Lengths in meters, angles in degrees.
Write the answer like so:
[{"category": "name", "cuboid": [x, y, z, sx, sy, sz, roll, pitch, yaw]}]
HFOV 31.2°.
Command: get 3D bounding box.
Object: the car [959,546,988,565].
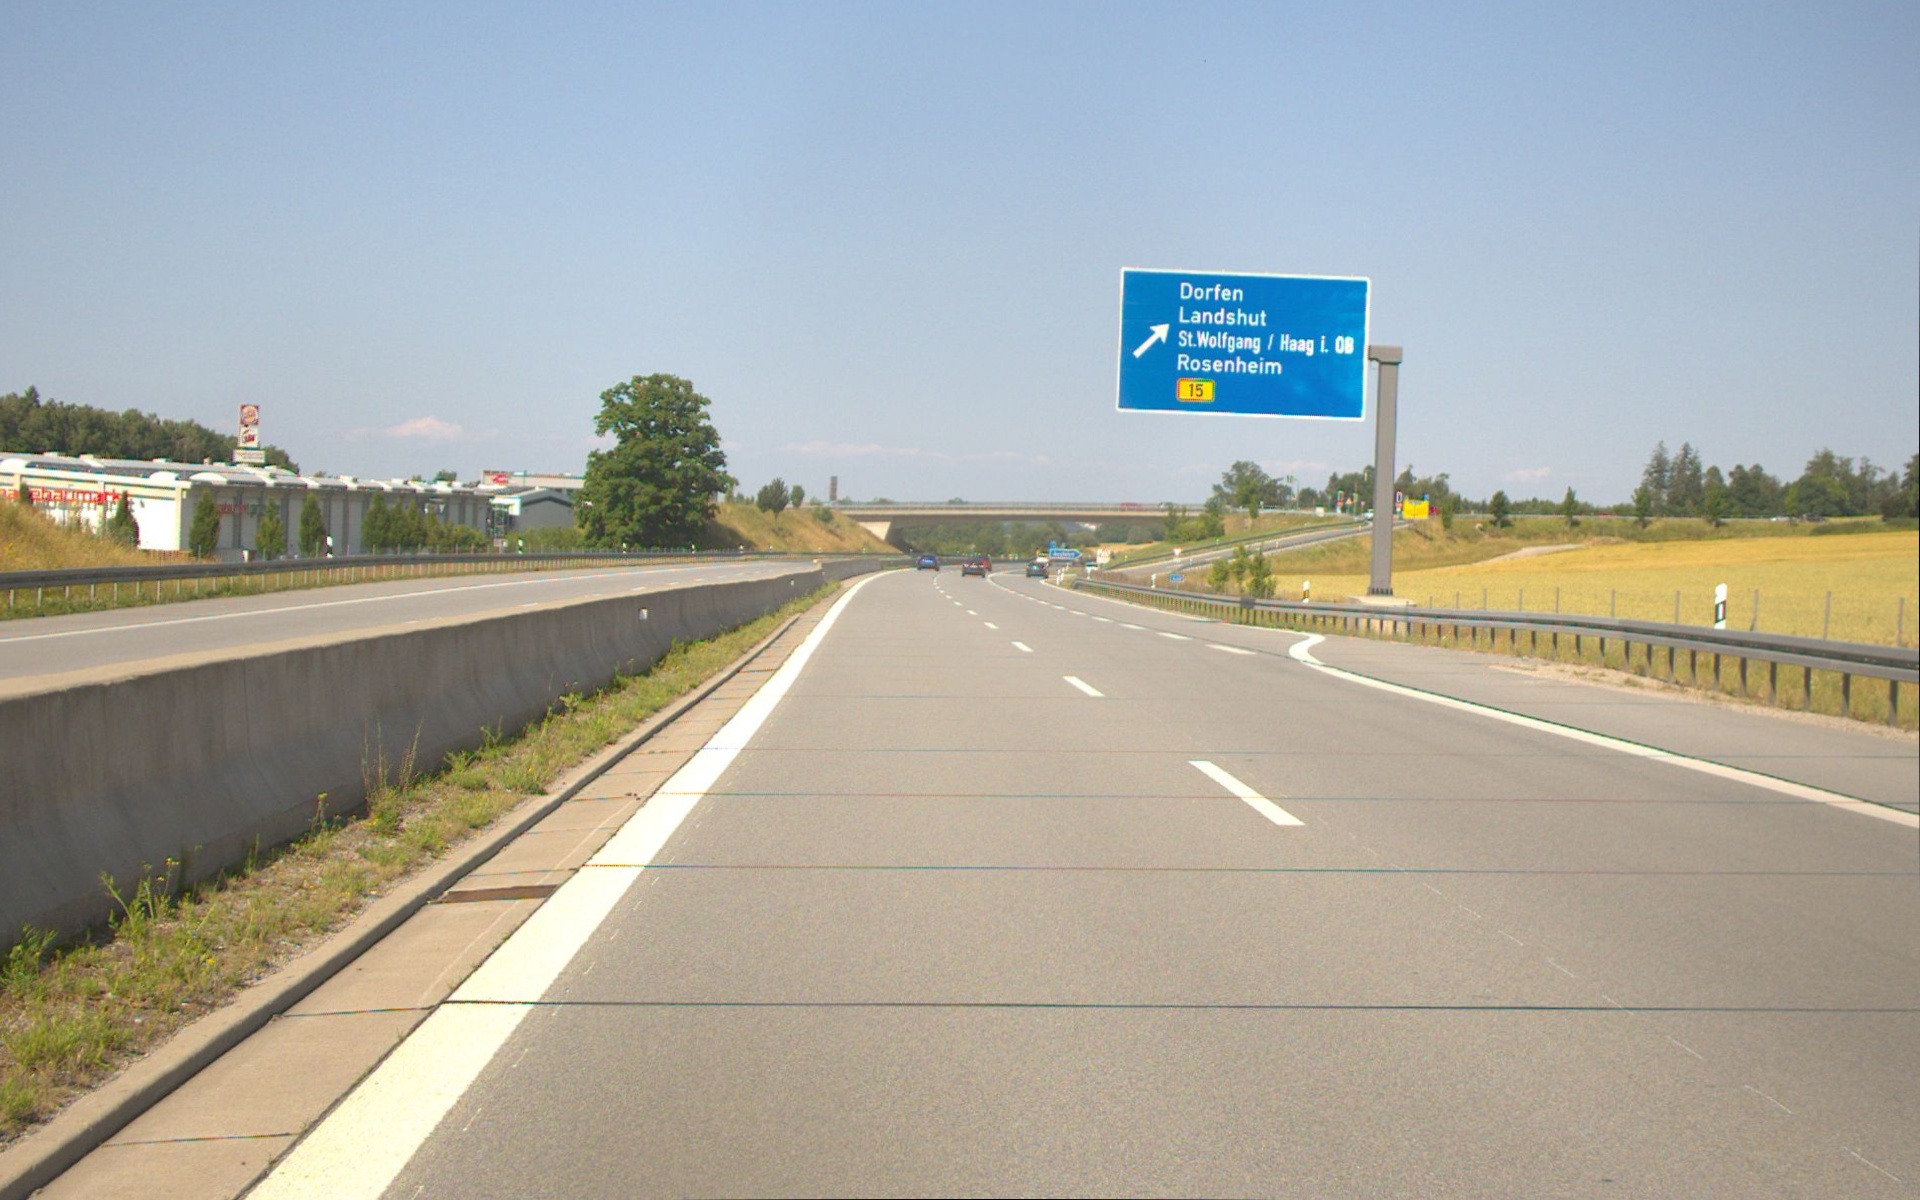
[{"category": "car", "cuboid": [1.061, -3.404, 261.178, 1.994, 1.415, 4.000, 2, 1, 3]}]
